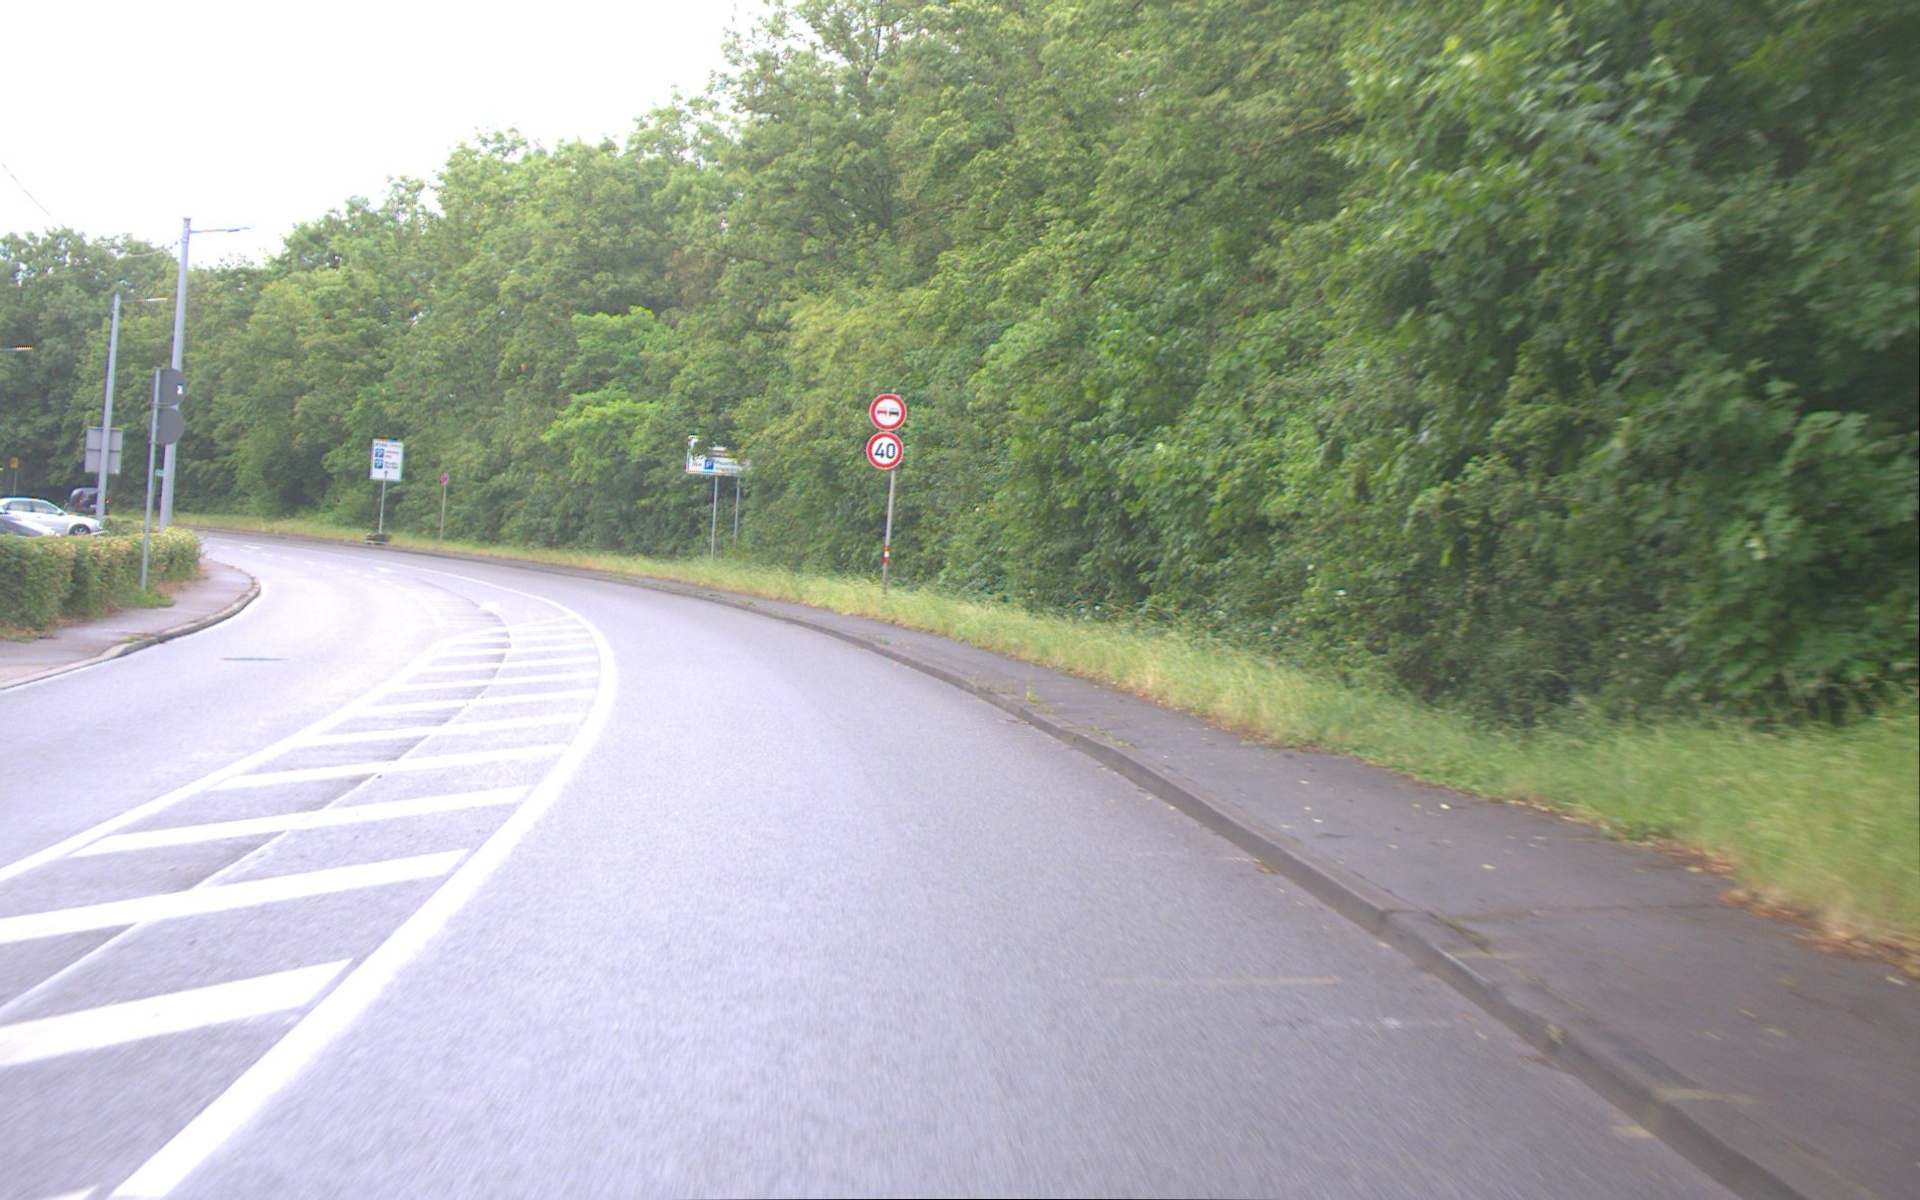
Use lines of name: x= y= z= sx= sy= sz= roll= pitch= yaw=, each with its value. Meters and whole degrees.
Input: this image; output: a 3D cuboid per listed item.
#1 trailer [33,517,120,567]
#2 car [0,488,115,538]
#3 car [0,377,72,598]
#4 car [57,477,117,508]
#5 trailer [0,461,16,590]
trailer: x=-19.459 y=-1.281 z=75.704 sx=1.800 sy=1.031 sz=1.334 roll=2 pitch=1 yaw=-15
car: x=-30.938 y=-2.950 z=115.669 sx=4.574 sy=1.501 sz=2.001 roll=2 pitch=1 yaw=-24
car: x=-16.211 y=-1.703 z=49.757 sx=6.270 sy=3.103 sz=2.753 roll=2 pitch=0 yaw=-12
car: x=-46.076 y=-5.656 z=181.378 sx=1.935 sy=1.493 sz=4.319 roll=1 pitch=2 yaw=-29
trailer: x=-17.312 y=-1.247 z=55.104 sx=3.986 sy=2.046 sz=1.873 roll=1 pitch=1 yaw=-9
